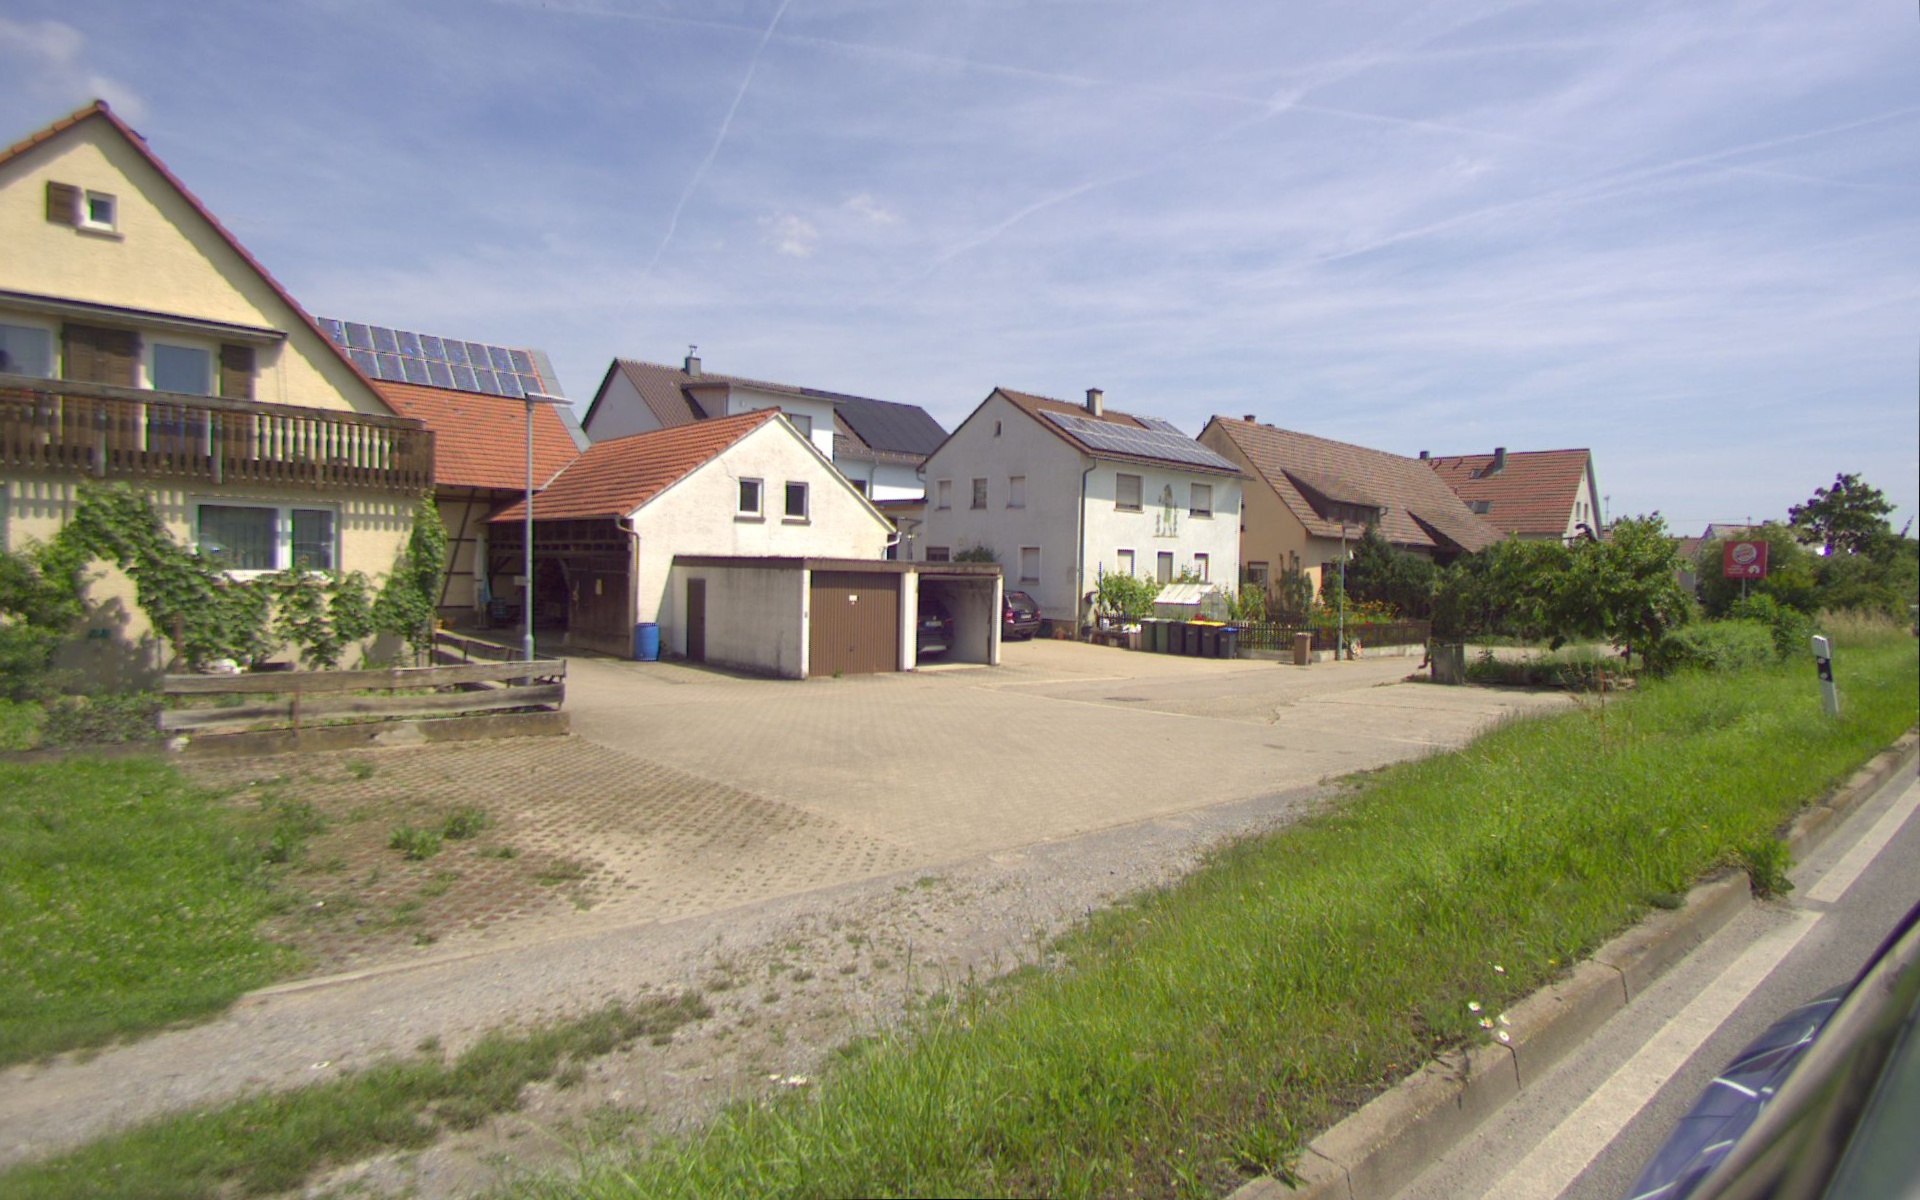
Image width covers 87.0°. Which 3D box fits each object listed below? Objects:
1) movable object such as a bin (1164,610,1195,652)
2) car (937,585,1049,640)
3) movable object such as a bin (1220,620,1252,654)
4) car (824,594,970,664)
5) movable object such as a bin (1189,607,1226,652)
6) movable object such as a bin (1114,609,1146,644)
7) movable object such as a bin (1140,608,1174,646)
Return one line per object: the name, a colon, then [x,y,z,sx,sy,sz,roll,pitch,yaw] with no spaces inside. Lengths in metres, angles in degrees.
movable object such as a bin: [7.247,1.018,33.426,0.806,1.355,0.678,1,-1,-41]
car: [1.134,0.396,36.493,1.796,1.755,3.996,-1,3,-40]
movable object such as a bin: [8.580,1.148,31.481,0.743,1.040,0.645,1,-1,-41]
car: [-1.693,0.688,26.132,1.793,1.624,3.996,0,0,-39]
movable object such as a bin: [7.876,0.934,32.200,0.930,1.388,0.764,1,-1,-41]
movable object such as a bin: [5.825,0.899,34.717,0.815,1.171,0.740,1,-1,-41]
movable object such as a bin: [6.640,0.897,34.114,0.874,1.262,0.744,1,-1,-41]
